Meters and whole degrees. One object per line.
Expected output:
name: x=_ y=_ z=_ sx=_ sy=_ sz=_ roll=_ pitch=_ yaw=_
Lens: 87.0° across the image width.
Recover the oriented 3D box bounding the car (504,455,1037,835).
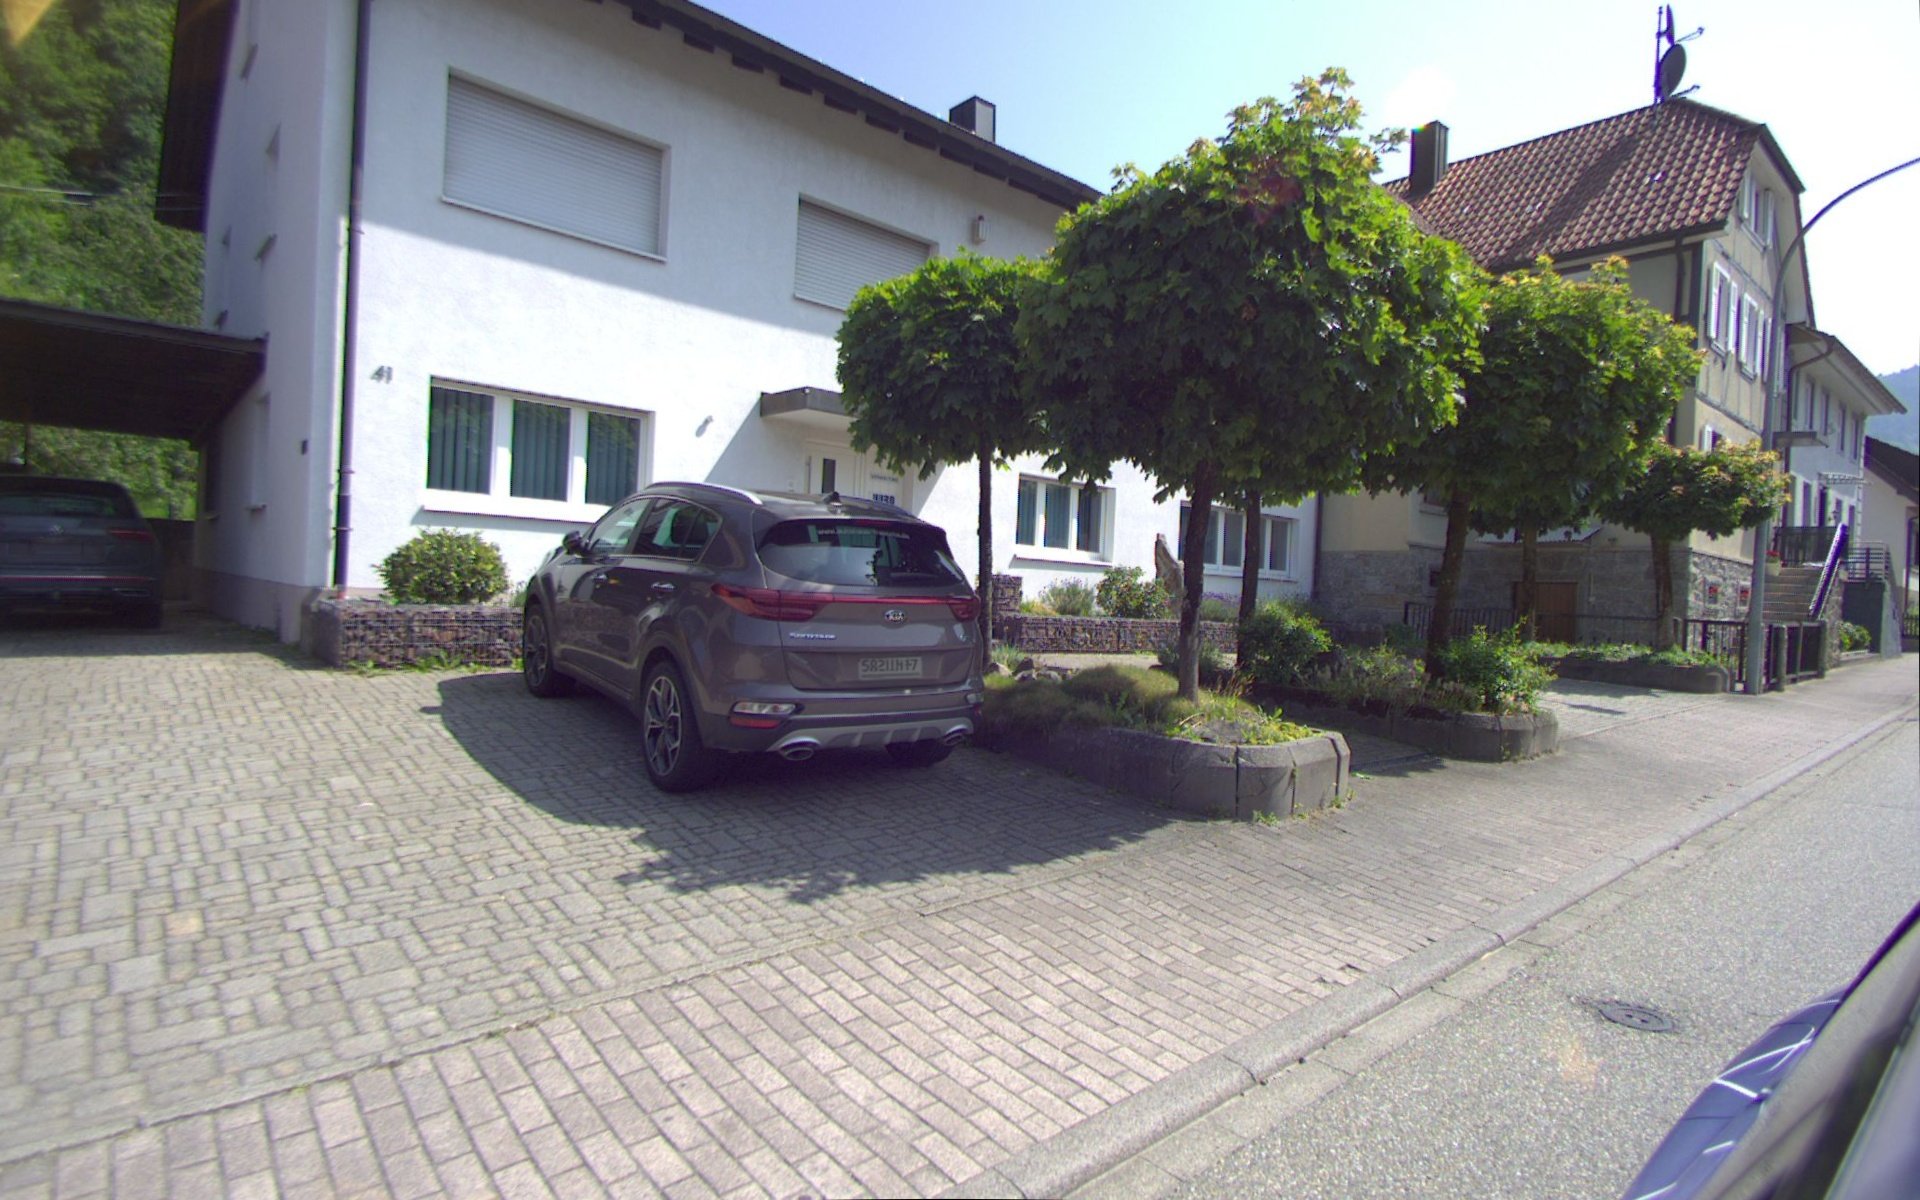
car: x=-1.592 y=-0.021 z=6.798 sx=1.744 sy=1.706 sz=4.238 roll=1 pitch=7 yaw=-37

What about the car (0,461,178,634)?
car: x=-10.296 y=-0.622 z=11.513 sx=1.840 sy=1.664 sz=3.992 roll=0 pitch=3 yaw=-43
